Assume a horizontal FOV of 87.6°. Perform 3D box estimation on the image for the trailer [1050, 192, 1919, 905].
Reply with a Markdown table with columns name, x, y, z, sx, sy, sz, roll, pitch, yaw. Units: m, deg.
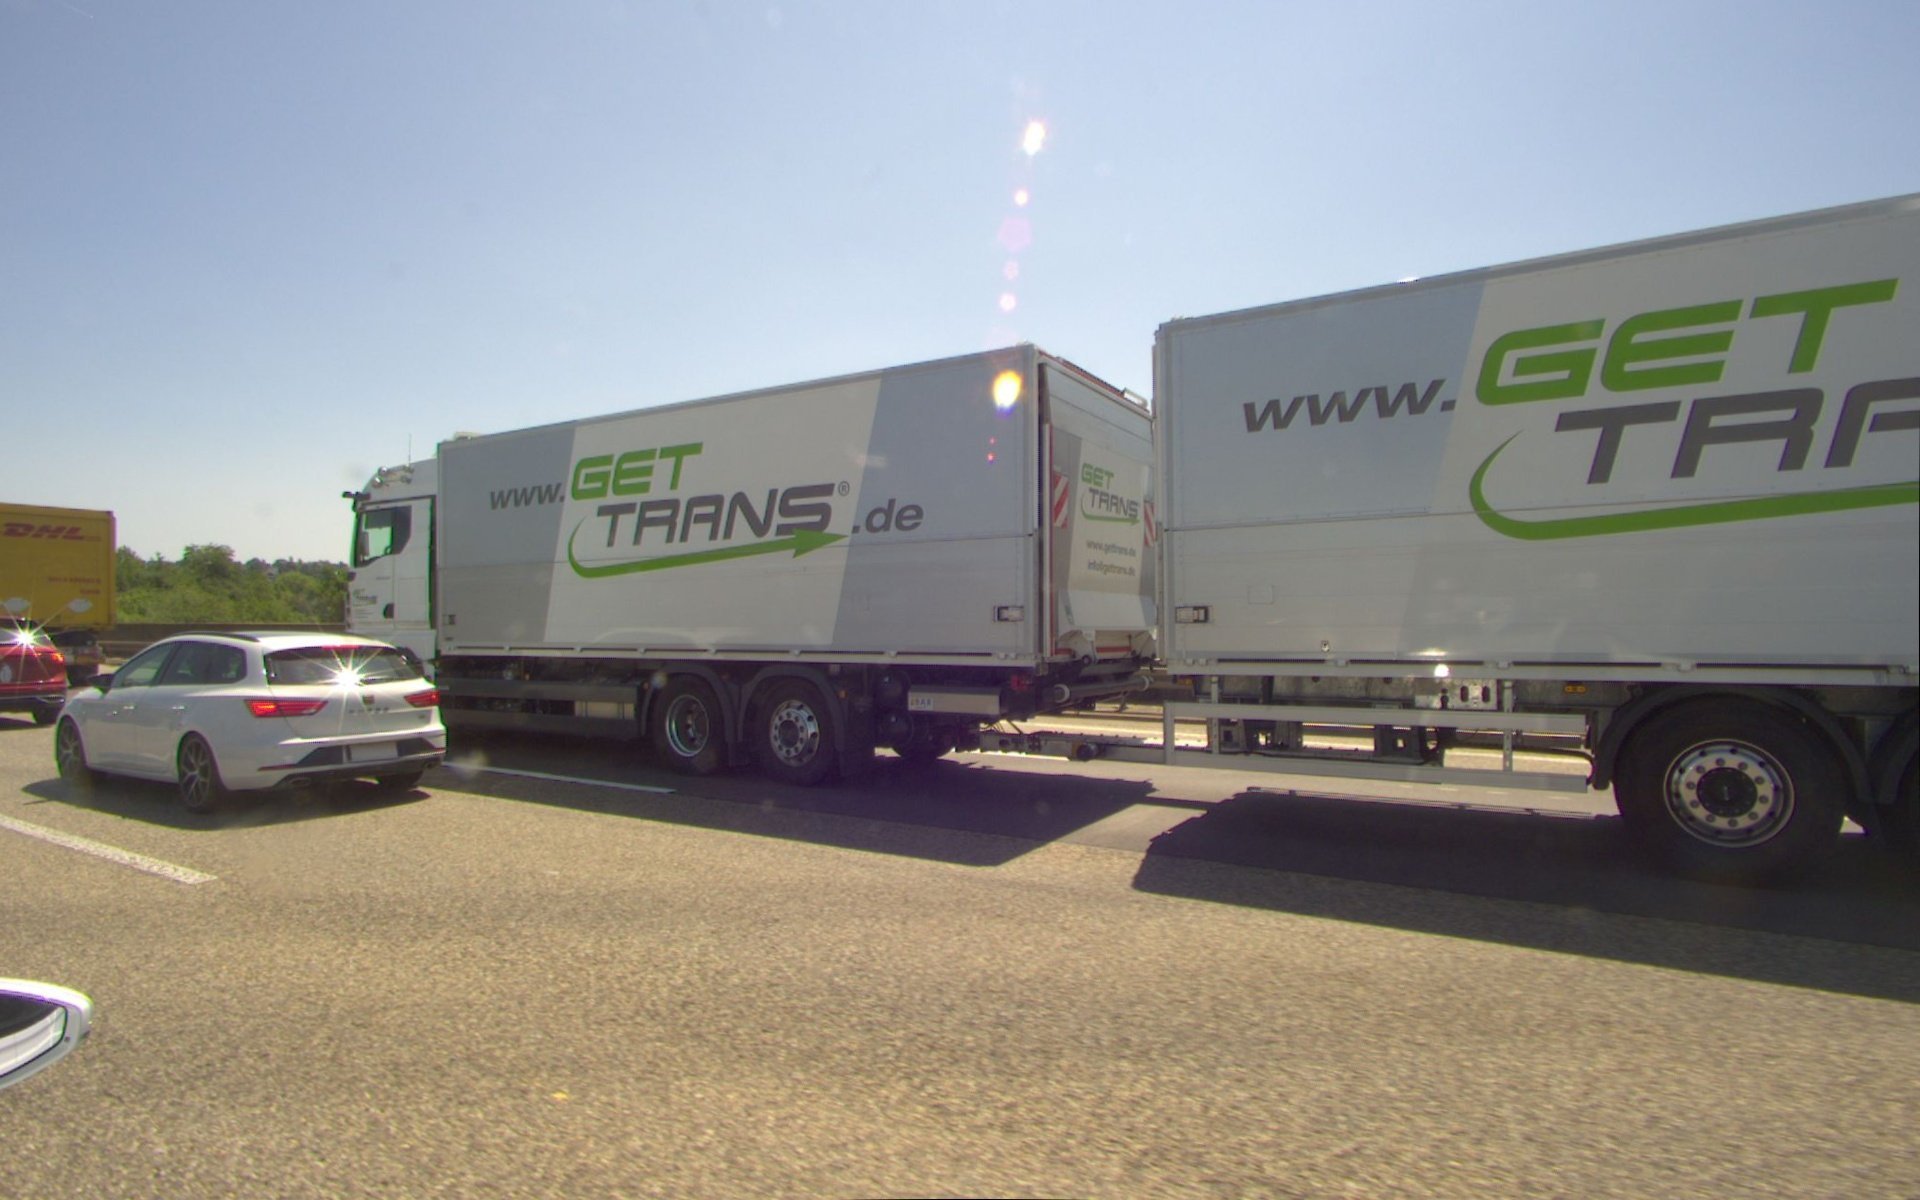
| name | x | y | z | sx | sy | sz | roll | pitch | yaw |
| --- | --- | --- | --- | --- | --- | --- | --- | --- | --- |
| trailer | 4.911 | -0.222 | 6.768 | 8.170 | 3.641 | 2.840 | 0 | -1 | 31 |

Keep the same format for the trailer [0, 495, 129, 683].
| name | x | y | z | sx | sy | sz | roll | pitch | yaw |
| --- | --- | --- | --- | --- | --- | --- | --- | --- | --- |
| trailer | -24.066 | -0.133 | 24.791 | 8.802 | 4.074 | 2.697 | -1 | -2 | 32 |

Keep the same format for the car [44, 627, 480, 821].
| name | x | y | z | sx | sy | sz | roll | pitch | yaw |
| --- | --- | --- | --- | --- | --- | --- | --- | --- | --- |
| car | -6.483 | 0.959 | 9.211 | 4.126 | 1.405 | 1.779 | -1 | -1 | 31 |

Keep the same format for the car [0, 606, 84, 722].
| name | x | y | z | sx | sy | sz | roll | pitch | yaw |
| --- | --- | --- | --- | --- | --- | --- | --- | --- | --- |
| car | -15.111 | 0.909 | 15.069 | 3.942 | 1.629 | 1.848 | 0 | -1 | 32 |

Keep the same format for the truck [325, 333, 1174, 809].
| name | x | y | z | sx | sy | sz | roll | pitch | yaw |
| --- | --- | --- | --- | --- | --- | --- | --- | --- | --- |
| truck | -3.094 | -0.128 | 11.661 | 10.611 | 3.649 | 2.847 | -1 | -2 | 31 |
